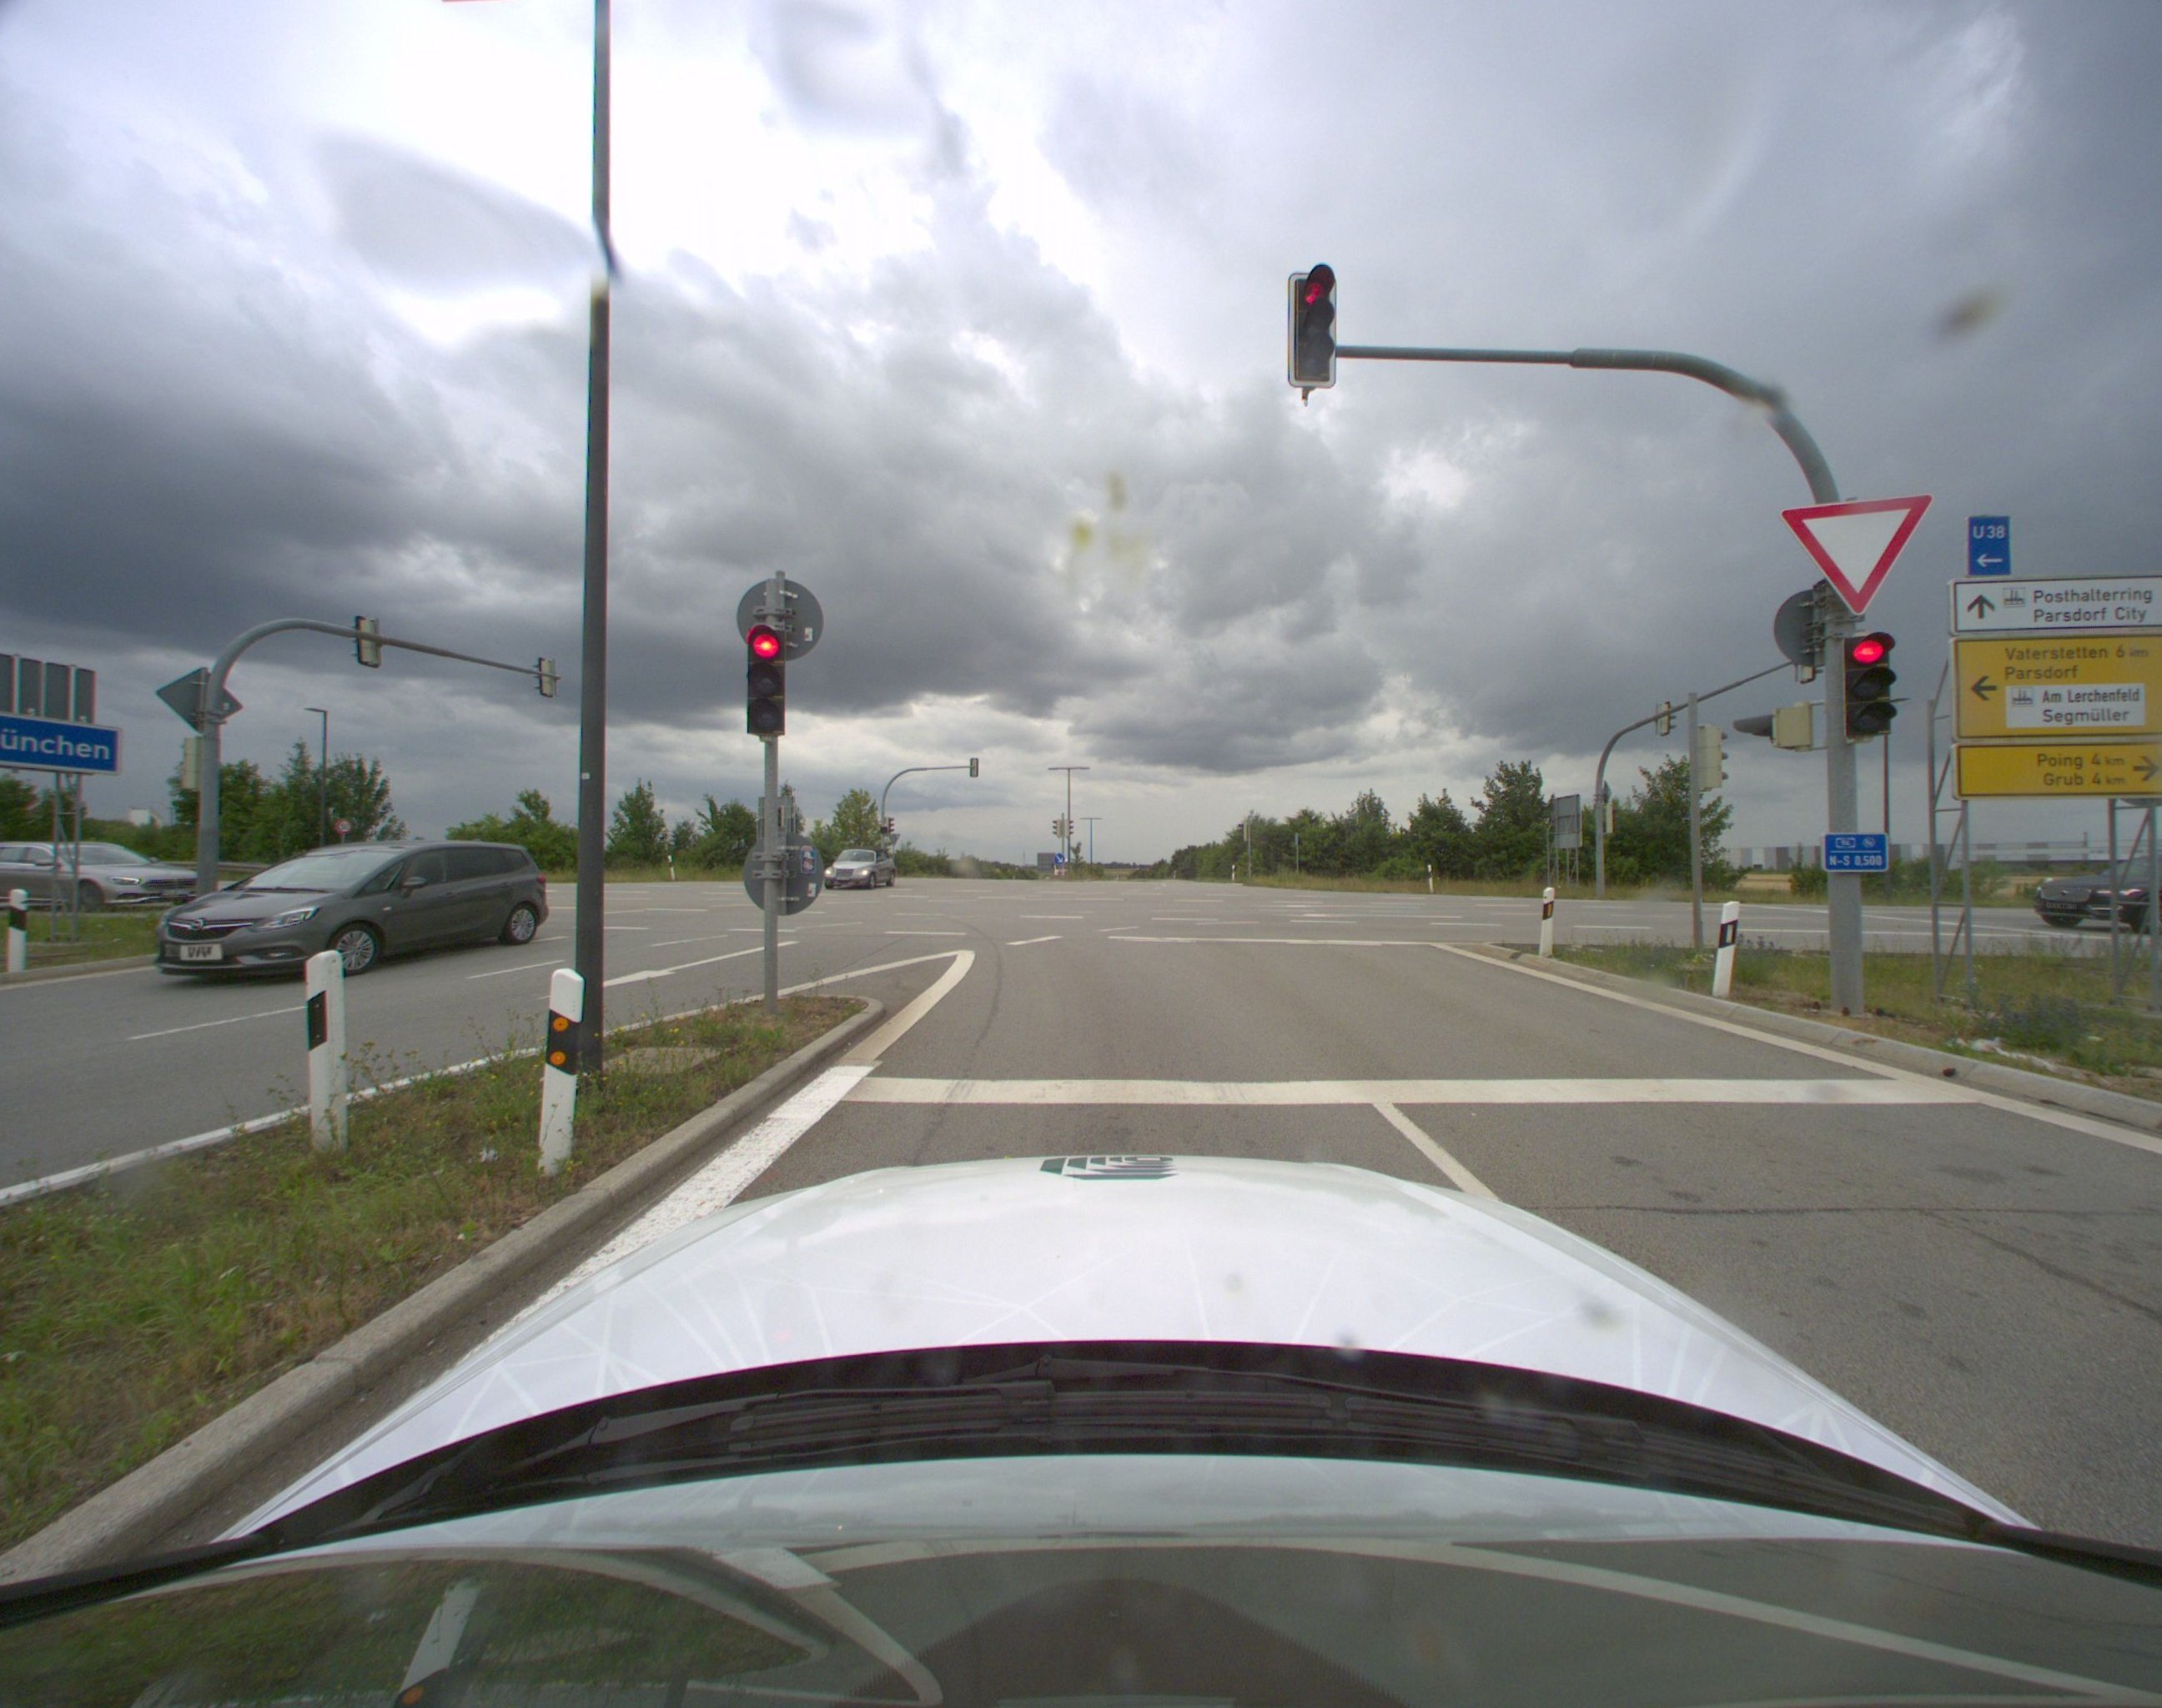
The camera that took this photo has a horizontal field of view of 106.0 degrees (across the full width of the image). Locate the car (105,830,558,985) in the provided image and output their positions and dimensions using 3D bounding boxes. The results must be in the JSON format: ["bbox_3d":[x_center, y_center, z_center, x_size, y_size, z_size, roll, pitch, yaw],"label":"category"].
[{"bbox_3d":[-9.669,0.604,11.174,1.986,1.694,4.457,0,-1,2],"label":"car"}]

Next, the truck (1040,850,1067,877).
[{"bbox_3d":[-3.634,1.372,109.390,2.858,3.408,8.654,0,-2,2],"label":"truck"}]

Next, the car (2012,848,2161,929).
[{"bbox_3d":[24.094,0.737,17.683,4.951,1.684,2.006,0,0,10],"label":"car"}]

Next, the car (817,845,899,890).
[{"bbox_3d":[-8.265,0.456,30.555,1.803,1.520,4.244,0,1,2],"label":"car"}]

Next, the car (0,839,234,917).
[{"bbox_3d":[-22.364,0.484,18.298,4.909,1.610,1.924,0,1,5],"label":"car"}]
